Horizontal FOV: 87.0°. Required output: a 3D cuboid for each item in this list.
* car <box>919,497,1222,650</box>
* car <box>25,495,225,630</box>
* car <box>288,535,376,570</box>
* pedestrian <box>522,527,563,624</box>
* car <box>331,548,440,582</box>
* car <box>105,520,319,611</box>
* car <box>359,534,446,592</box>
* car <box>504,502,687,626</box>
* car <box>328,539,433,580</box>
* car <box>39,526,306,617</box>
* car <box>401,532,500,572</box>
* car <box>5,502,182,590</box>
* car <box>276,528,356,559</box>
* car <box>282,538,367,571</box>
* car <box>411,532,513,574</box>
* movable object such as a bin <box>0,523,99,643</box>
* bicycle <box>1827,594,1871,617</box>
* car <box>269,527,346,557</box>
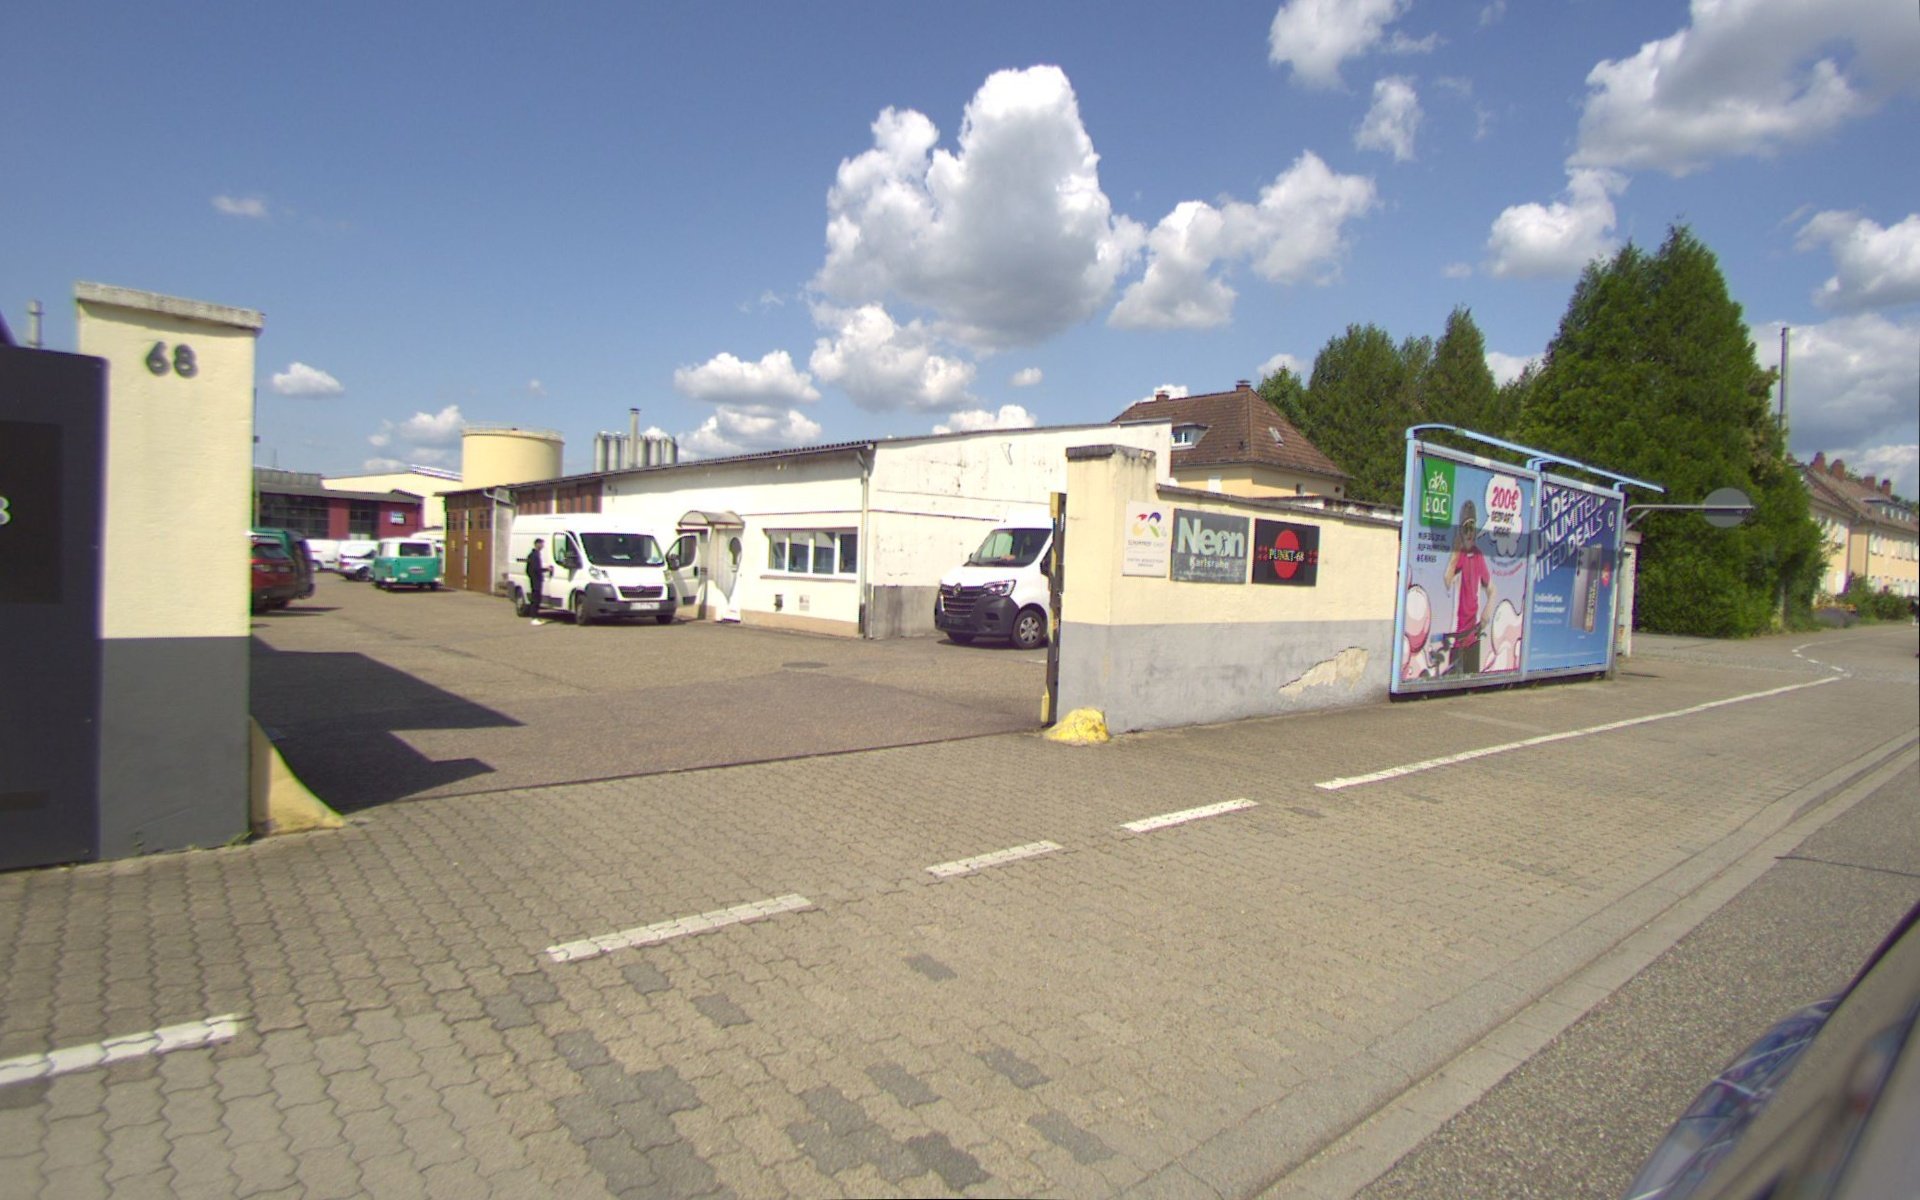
[{"bbox_3d":[2.247,-0.570,19.033,6.063,2.473,1.999,-2,3,-39],"label":"car"},{"bbox_3d":[-14.515,-0.612,17.711,2.548,2.142,1.998,1,1,-39],"label":"car"},{"bbox_3d":[-35.356,-2.659,57.059,3.932,1.808,1.997,-1,4,-43],"label":"car"},{"bbox_3d":[-8.924,-0.524,21.614,0.615,2.038,0.708,0,2,-41],"label":"pedestrian"},{"bbox_3d":[-25.678,-1.545,45.301,3.931,1.407,1.997,-1,4,-42],"label":"car"},{"bbox_3d":[-18.119,-0.826,24.699,3.802,2.047,1.788,1,2,-15],"label":"car"},{"bbox_3d":[-20.101,-1.362,36.424,1.965,1.941,3.996,0,4,-41],"label":"car"},{"bbox_3d":[-8.496,-0.830,23.190,2.101,2.482,5.845,0,2,-40],"label":"car"},{"bbox_3d":[-27.175,-1.906,47.495,3.932,1.808,1.997,-1,4,-42],"label":"car"},{"bbox_3d":[-16.996,-0.612,22.077,4.100,1.679,2.004,3,1,-11],"label":"car"},{"bbox_3d":[-31.860,-2.990,63.401,5.116,2.386,2.349,-1,4,-43],"label":"car"},{"bbox_3d":[-26.840,-1.640,31.442,4.069,2.554,1.997,-1,3,-43],"label":"car"},{"bbox_3d":[-40.242,-3.511,63.247,3.932,1.808,1.997,-1,4,-43],"label":"car"},{"bbox_3d":[-37.321,-2.689,59.489,3.932,1.808,1.997,-1,4,-43],"label":"car"},{"bbox_3d":[-30.202,-2.840,61.496,5.116,2.386,2.349,-1,4,-43],"label":"car"},{"bbox_3d":[-12.309,-0.238,13.626,0.984,1.471,1.494,5,-1,-40],"label":"movable object such as a bin"},{"bbox_3d":[47.018,0.289,53.509,0.285,1.116,1.693,1,2,-40],"label":"bicycle"},{"bbox_3d":[-42.229,-3.727,65.516,3.932,1.808,1.997,-1,4,-43],"label":"car"}]
